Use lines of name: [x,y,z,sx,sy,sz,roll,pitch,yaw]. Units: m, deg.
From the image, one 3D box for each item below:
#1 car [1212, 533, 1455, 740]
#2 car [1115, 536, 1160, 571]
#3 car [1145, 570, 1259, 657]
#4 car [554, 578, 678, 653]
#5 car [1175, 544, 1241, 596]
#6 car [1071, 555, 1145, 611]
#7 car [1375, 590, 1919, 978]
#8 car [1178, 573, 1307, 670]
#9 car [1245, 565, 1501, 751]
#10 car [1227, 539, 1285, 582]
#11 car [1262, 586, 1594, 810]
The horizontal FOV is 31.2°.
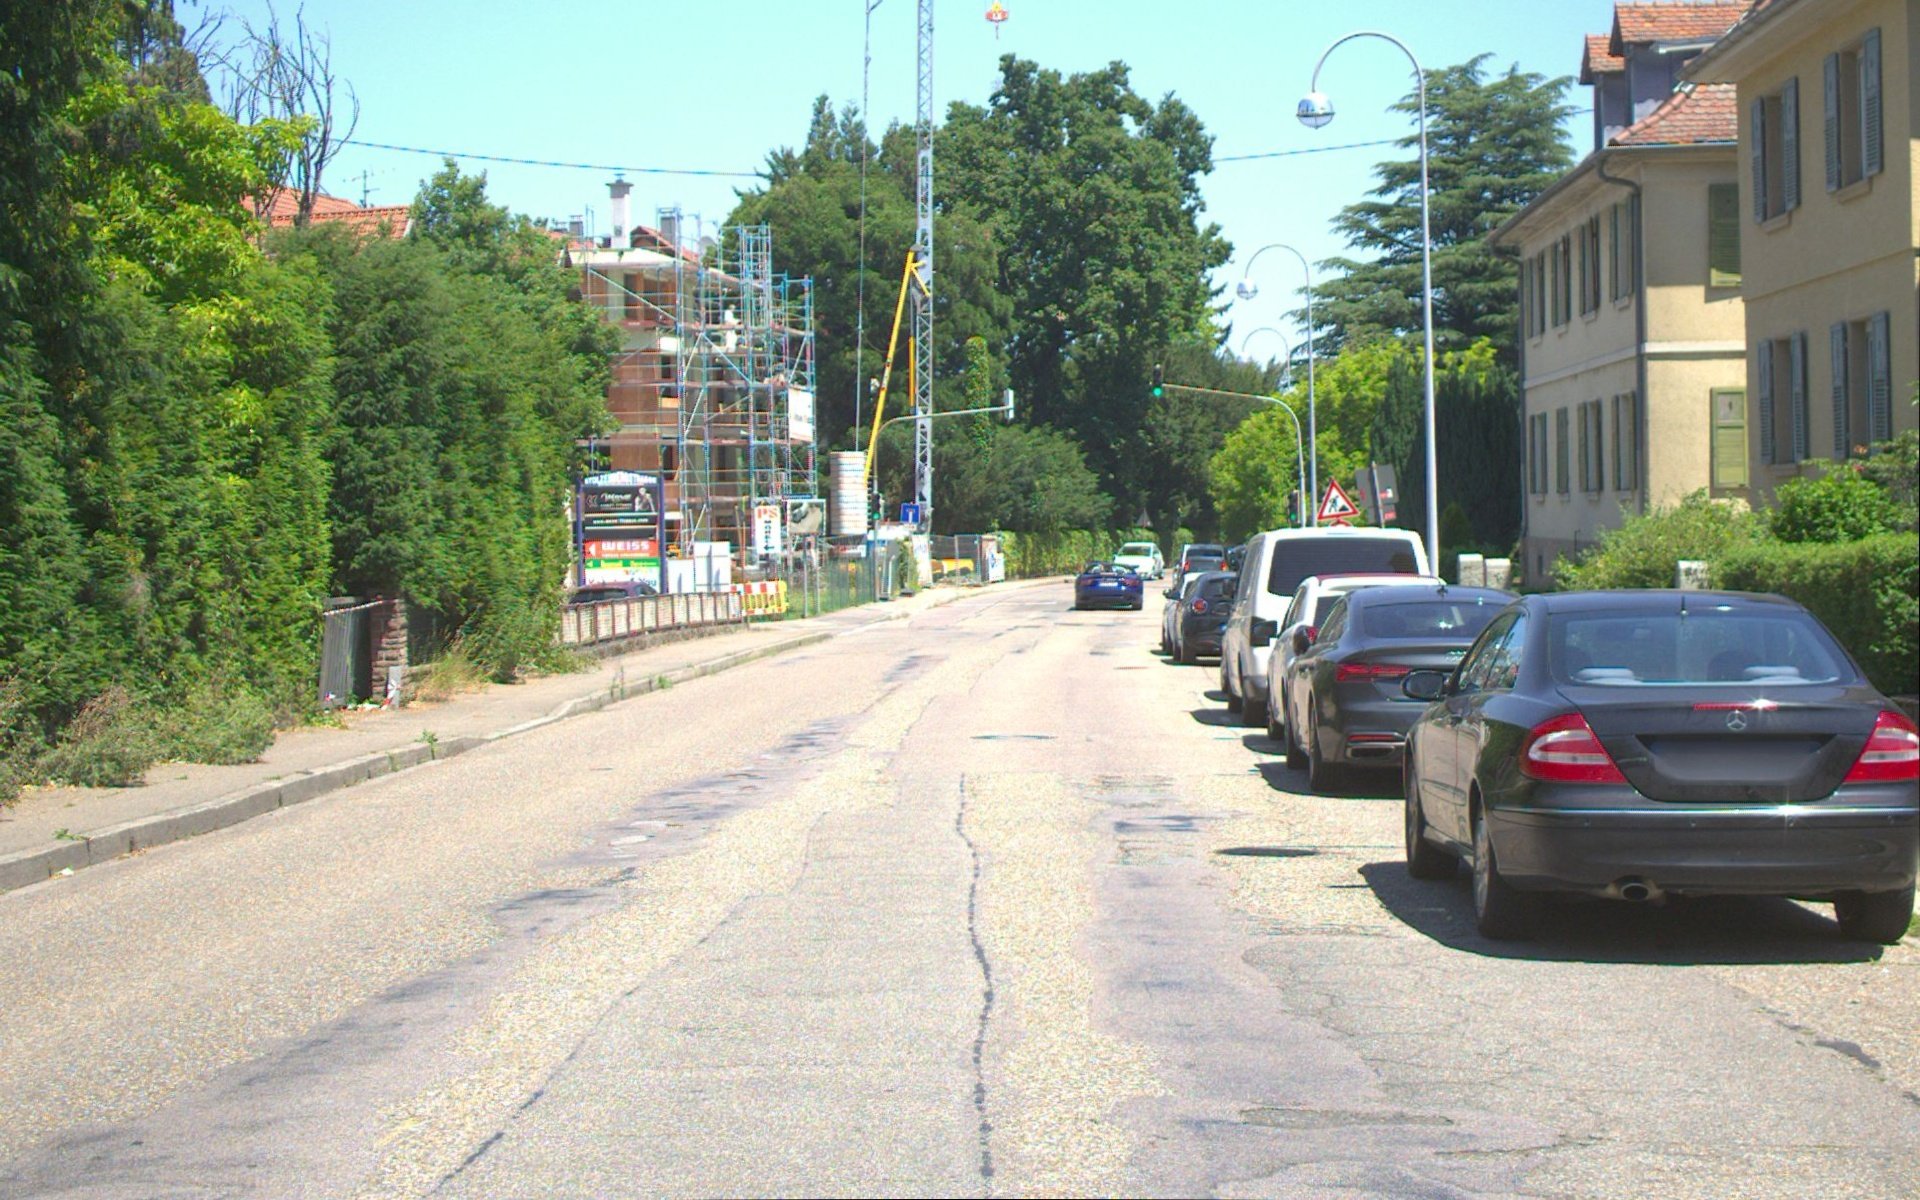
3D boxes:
car: [3.679,0.317,34.636,1.993,1.894,4.822,1,1,1]
car: [7.656,-1.997,147.827,1.761,1.446,3.839,0,1,6]
car: [4.216,0.216,60.300,1.761,1.446,3.889,0,1,1]
car: [-6.815,0.295,68.394,1.660,1.384,3.534,-1,0,8]
car: [8.246,-1.004,114.069,1.994,1.656,3.999,-1,0,6]
car: [4.211,-0.502,97.486,1.958,1.463,4.000,-1,1,4]
car: [2.899,0.676,14.992,1.693,1.414,4.551,-1,0,1]
car: [4.445,0.317,54.536,1.761,1.446,3.839,0,1,1]
car: [3.429,0.441,29.085,1.761,1.446,3.648,0,1,1]
car: [11.753,-1.562,136.333,1.994,1.656,3.999,-1,0,9]
car: [3.186,0.615,24.224,1.761,1.366,4.607,0,1,1]
